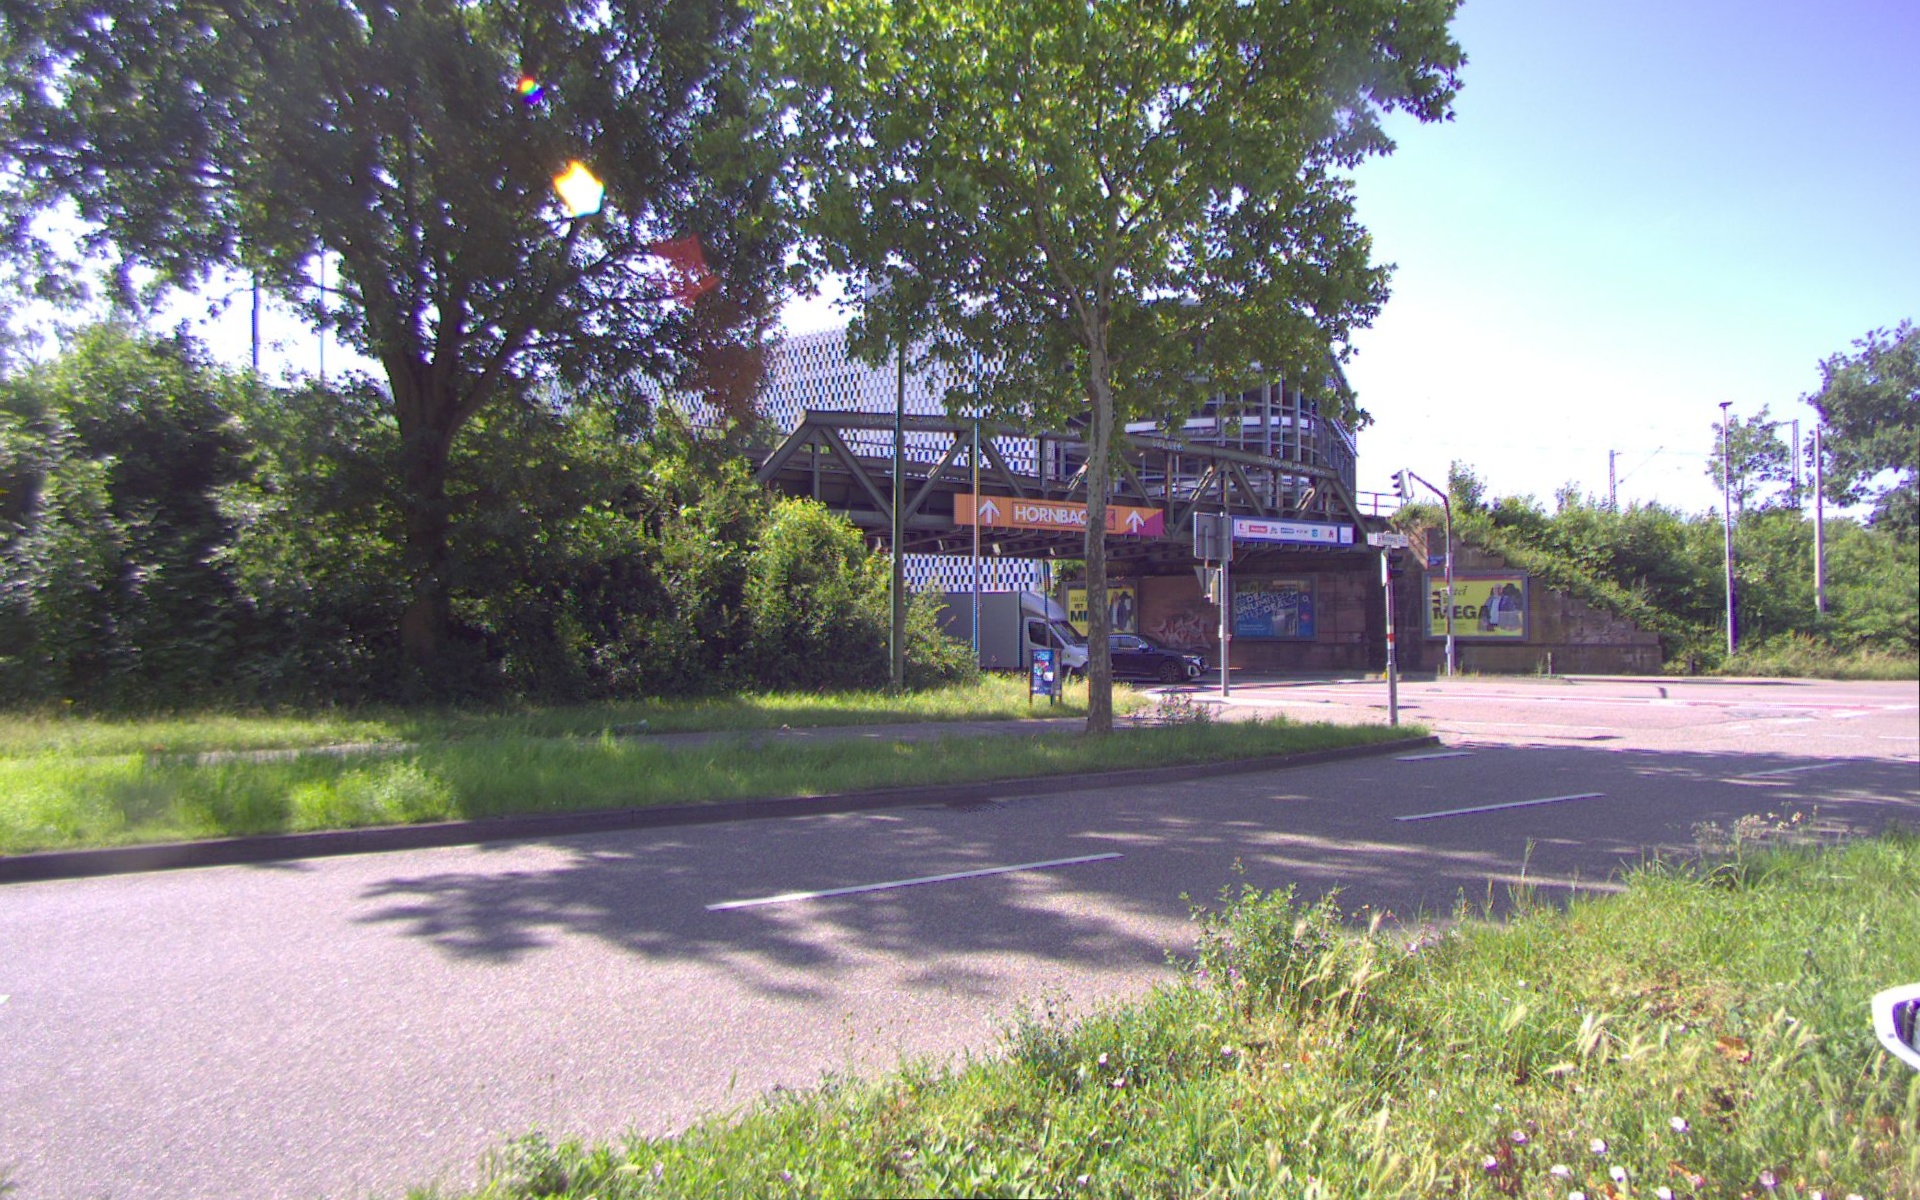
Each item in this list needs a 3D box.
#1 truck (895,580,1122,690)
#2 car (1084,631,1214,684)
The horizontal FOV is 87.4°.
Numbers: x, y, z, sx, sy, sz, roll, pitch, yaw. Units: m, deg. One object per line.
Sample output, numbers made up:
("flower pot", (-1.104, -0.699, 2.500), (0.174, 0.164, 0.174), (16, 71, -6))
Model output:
("truck", (1.442, 1.141, 31.385), (6.739, 3.146, 2.216), (-2, -2, 27))
("car", (6.372, 1.923, 33.878), (3.926, 1.668, 1.902), (-2, -2, 27))
